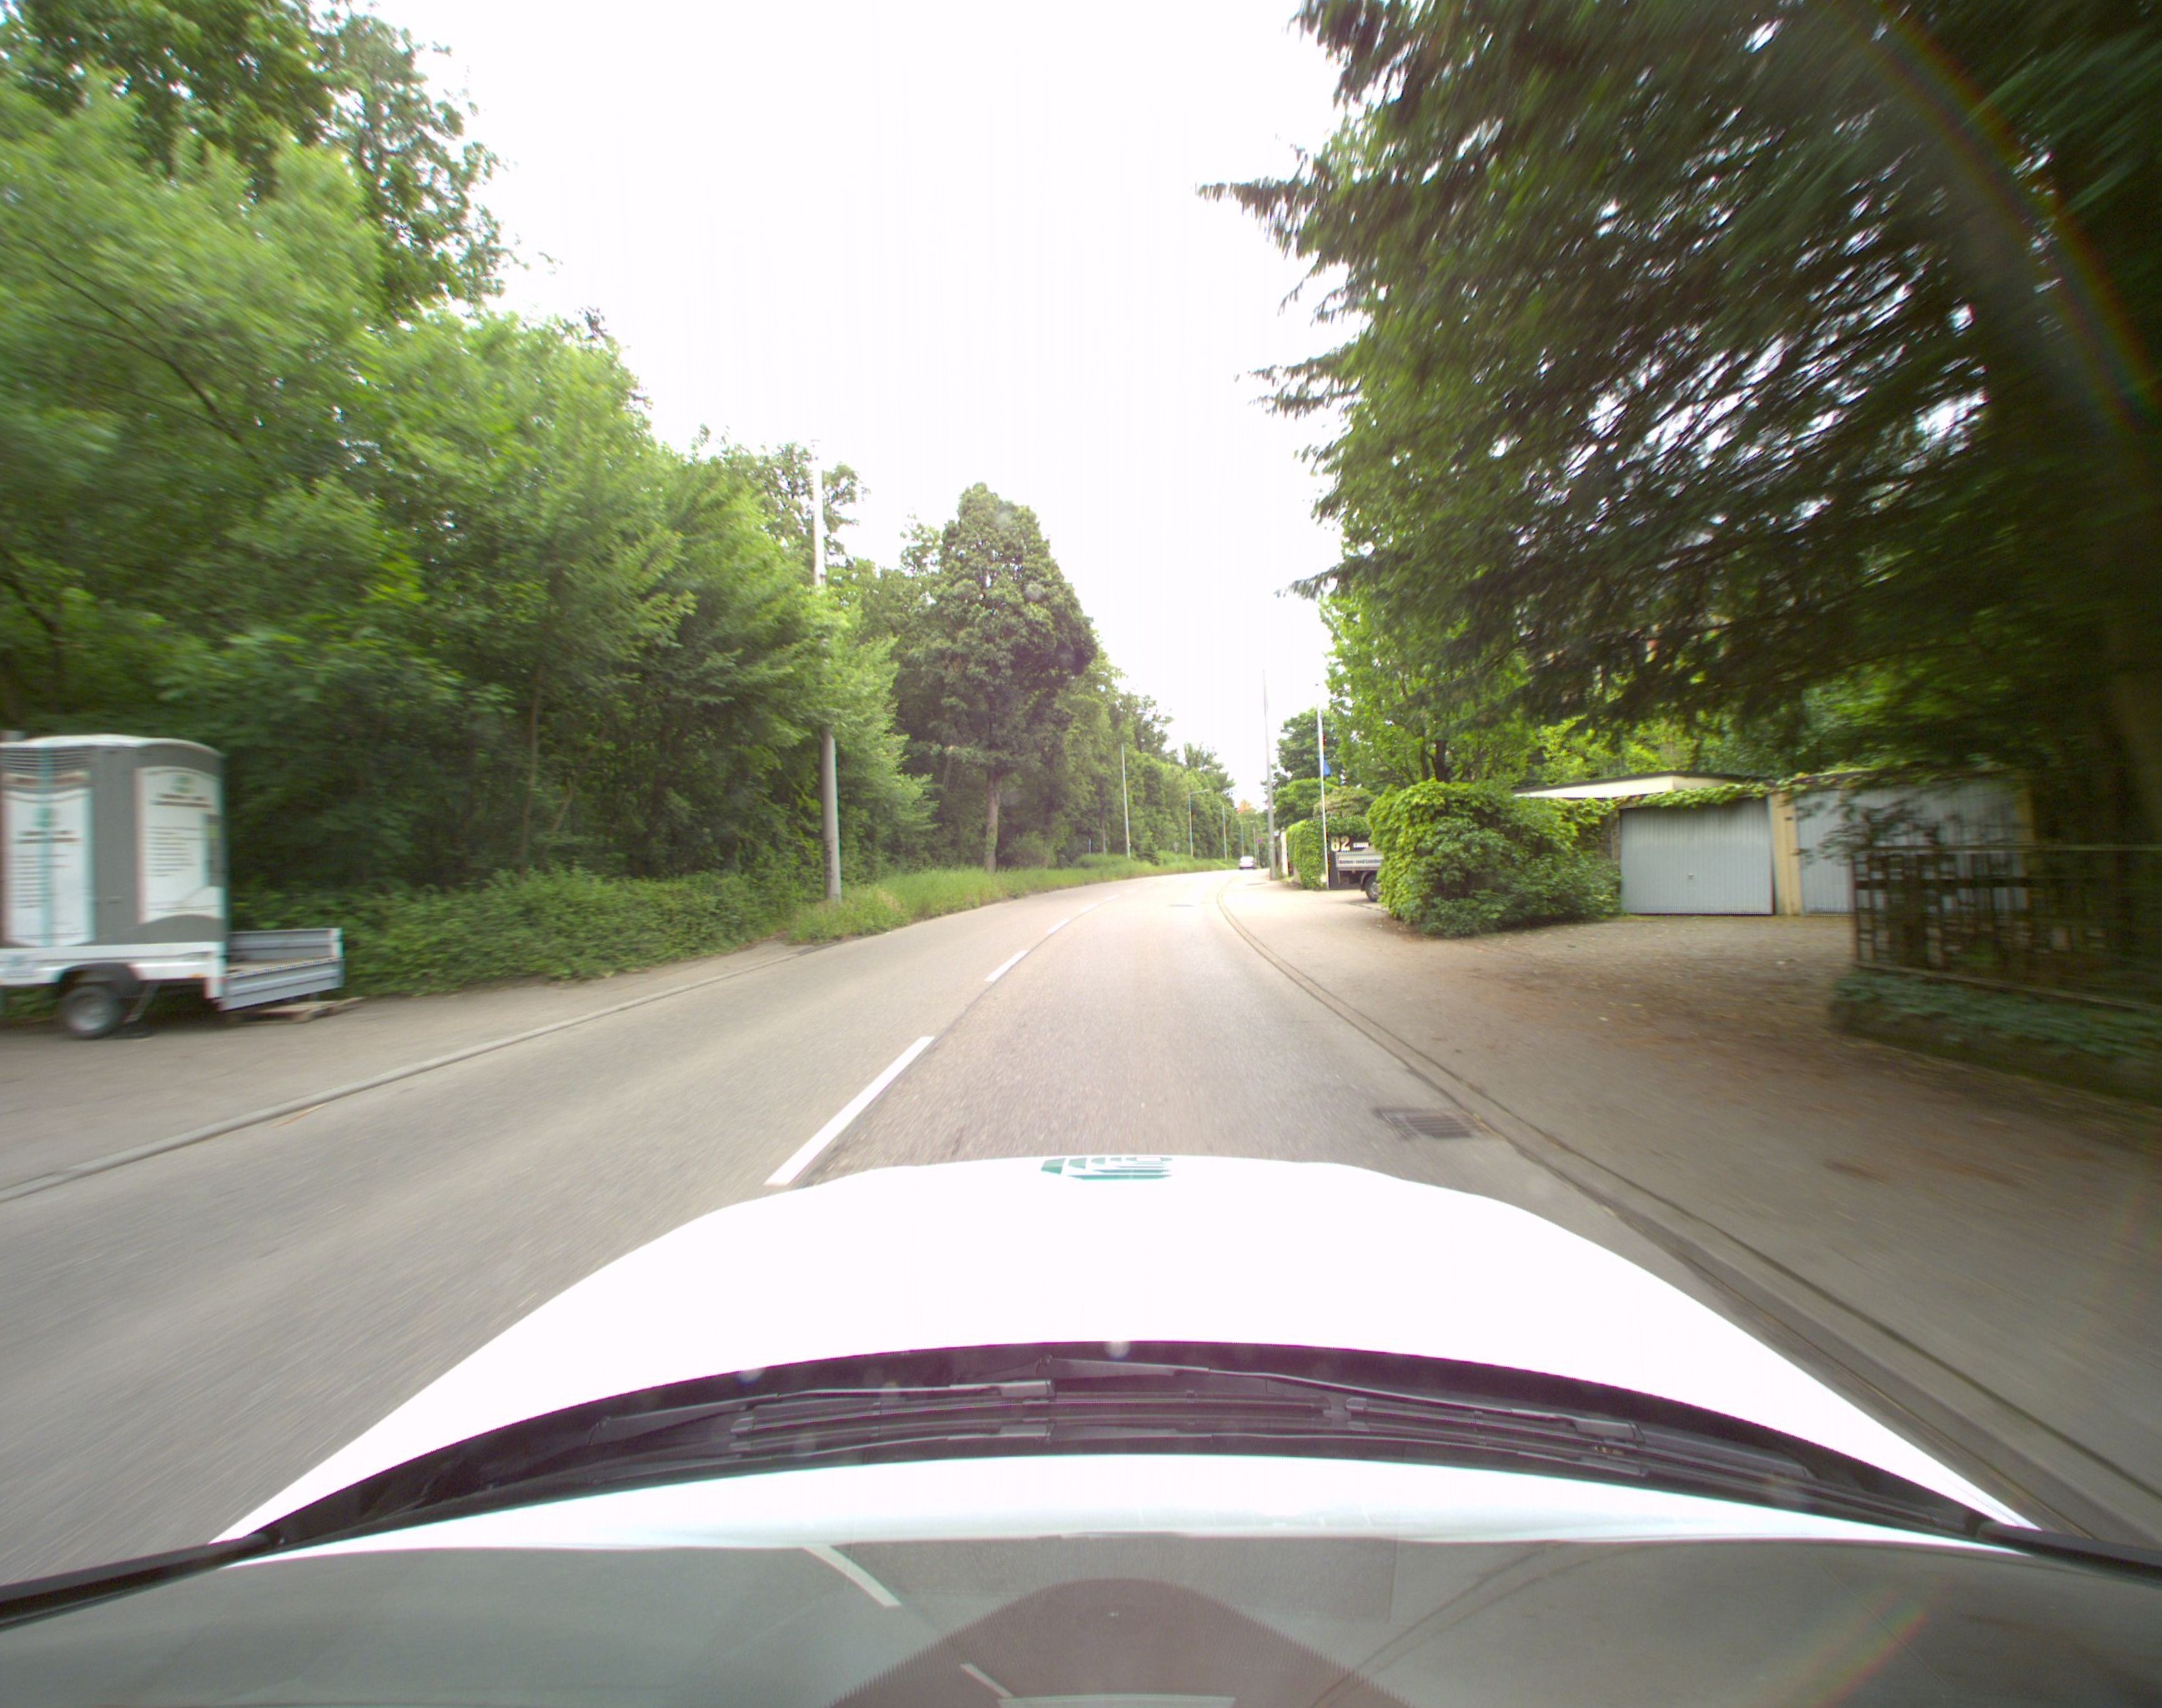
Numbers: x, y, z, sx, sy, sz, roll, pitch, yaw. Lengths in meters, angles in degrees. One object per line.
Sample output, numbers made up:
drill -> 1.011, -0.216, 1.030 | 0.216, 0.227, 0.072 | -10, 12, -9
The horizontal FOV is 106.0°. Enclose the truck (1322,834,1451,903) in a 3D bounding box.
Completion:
truck -> 8.033, 0.386, 21.609 | 1.357, 1.689, 3.032 | -2, -1, -27

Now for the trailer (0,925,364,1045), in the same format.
trailer -> -9.046, 1.222, 7.762 | 2.955, 0.828, 1.471 | -2, -1, -10

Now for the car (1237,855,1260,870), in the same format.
car -> 18.454, 0.890, 89.417 | 1.978, 1.486, 4.018 | -2, -1, 17
